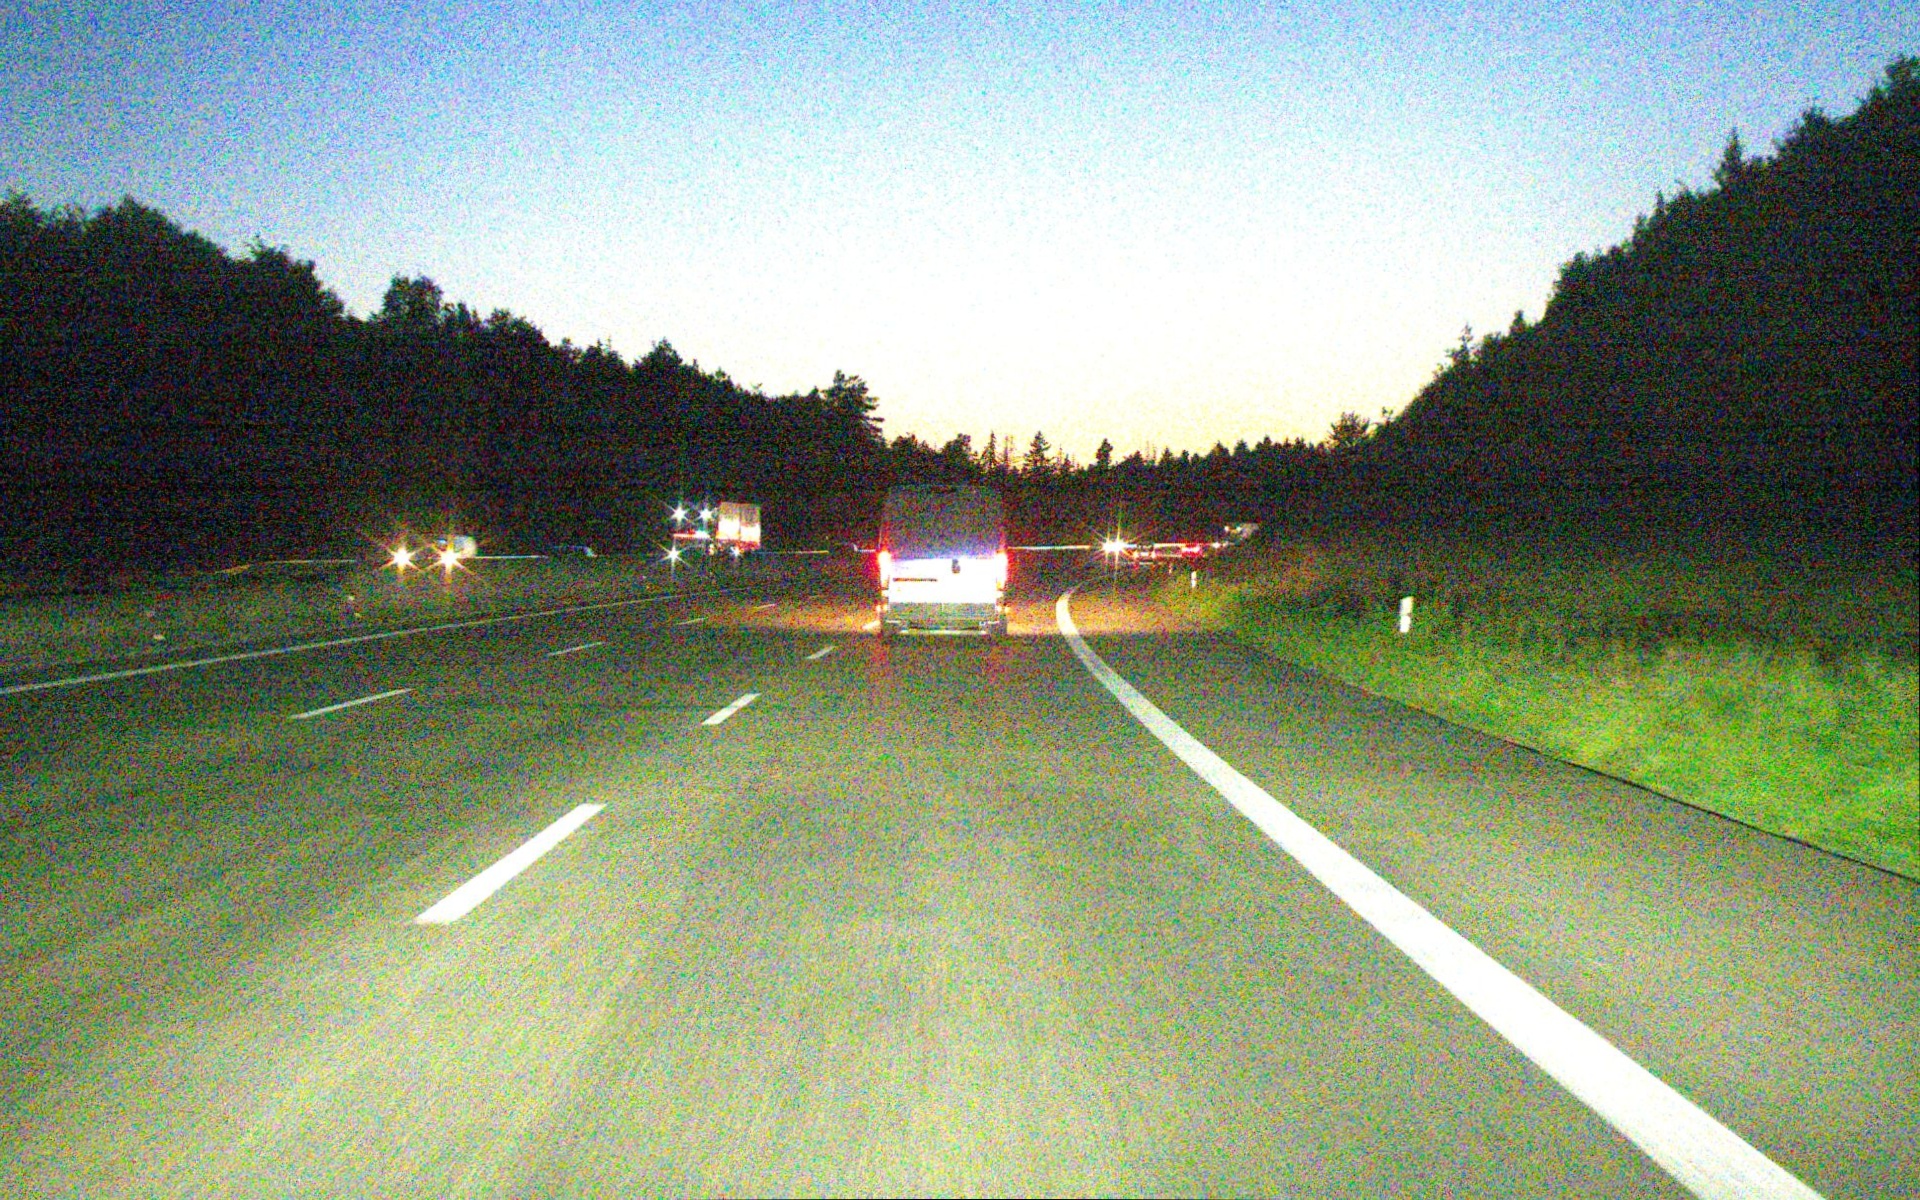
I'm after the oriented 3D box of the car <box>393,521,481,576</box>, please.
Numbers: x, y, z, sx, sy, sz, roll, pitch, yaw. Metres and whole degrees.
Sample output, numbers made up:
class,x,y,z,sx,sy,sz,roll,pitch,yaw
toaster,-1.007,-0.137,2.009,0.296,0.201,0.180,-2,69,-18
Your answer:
class,x,y,z,sx,sy,sz,roll,pitch,yaw
car,-17.637,-1.728,116.170,1.993,1.815,5.687,0,1,1

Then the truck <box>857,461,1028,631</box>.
class,x,y,z,sx,sy,sz,roll,pitch,yaw
truck,-0.375,-0.876,57.565,2.630,2.615,8.685,0,1,-1

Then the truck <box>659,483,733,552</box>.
class,x,y,z,sx,sy,sz,roll,pitch,yaw
truck,-15.666,-4.869,204.364,3.502,3.956,6.698,0,1,3

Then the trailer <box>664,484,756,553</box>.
class,x,y,z,sx,sy,sz,roll,pitch,yaw
trailer,-15.313,-4.922,211.806,3.543,3.986,17.282,0,1,3
